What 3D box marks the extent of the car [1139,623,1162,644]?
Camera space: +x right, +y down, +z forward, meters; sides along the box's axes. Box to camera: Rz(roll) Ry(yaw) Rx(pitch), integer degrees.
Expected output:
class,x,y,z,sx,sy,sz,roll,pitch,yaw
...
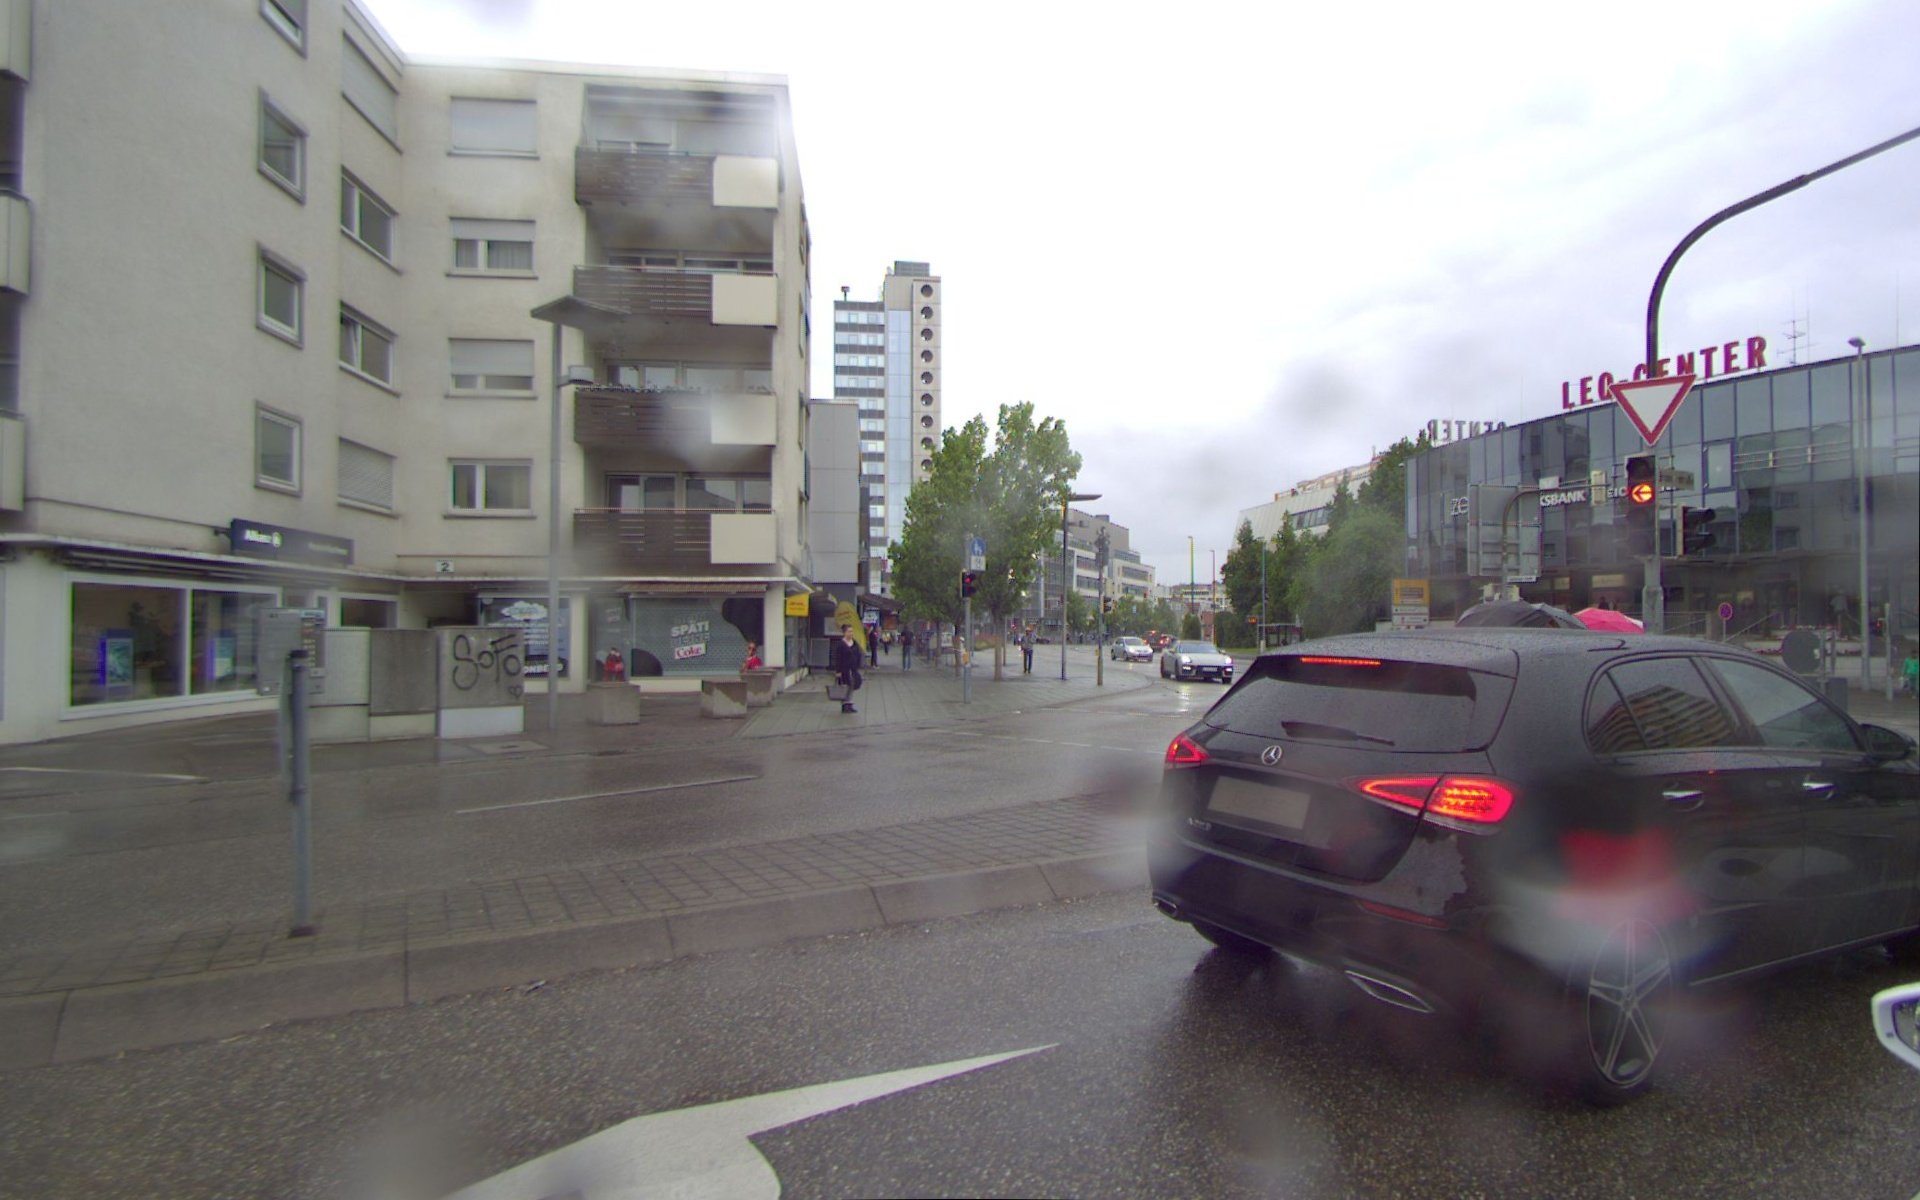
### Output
class,x,y,z,sx,sy,sz,roll,pitch,yaw
car,18.354,3.232,96.851,2.008,1.921,4.141,1,-1,9

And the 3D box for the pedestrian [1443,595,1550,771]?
class,x,y,z,sx,sy,sz,roll,pitch,yaw
pedestrian,5.714,0.853,10.688,0.937,1.759,0.834,-1,-2,33

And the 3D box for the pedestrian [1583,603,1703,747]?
class,x,y,z,sx,sy,sz,roll,pitch,yaw
pedestrian,8.508,0.912,12.537,0.905,1.699,0.931,2,-2,-28

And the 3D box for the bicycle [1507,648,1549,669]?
class,x,y,z,sx,sy,sz,roll,pitch,yaw
bicycle,28.833,2.963,50.977,1.821,1.036,0.631,-1,-2,-9

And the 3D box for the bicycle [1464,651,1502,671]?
class,x,y,z,sx,sy,sz,roll,pitch,yaw
bicycle,28.134,3.294,54.033,1.820,0.964,0.535,-2,0,-6

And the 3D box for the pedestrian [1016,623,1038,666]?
class,x,y,z,sx,sy,sz,roll,pitch,yaw
pedestrian,2.625,1.736,39.285,0.799,1.677,0.715,1,-2,-1

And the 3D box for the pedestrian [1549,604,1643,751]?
class,x,y,z,sx,sy,sz,roll,pitch,yaw
pedestrian,7.675,0.917,12.153,0.790,1.707,0.674,0,-2,16

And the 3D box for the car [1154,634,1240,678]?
class,x,y,z,sx,sy,sz,roll,pitch,yaw
car,8.588,1.999,36.921,2.081,1.432,5.148,2,-2,2

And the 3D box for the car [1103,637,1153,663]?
class,x,y,z,sx,sy,sz,roll,pitch,yaw
car,10.510,3.119,63.002,1.716,1.460,3.983,1,-1,-13

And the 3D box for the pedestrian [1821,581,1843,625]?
class,x,y,z,sx,sy,sz,roll,pitch,yaw
pedestrian,36.566,0.138,42.107,0.501,1.831,0.626,2,0,-45

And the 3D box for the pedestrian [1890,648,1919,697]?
class,x,y,z,sx,sy,sz,roll,pitch,yaw
pedestrian,32.630,2.471,34.519,0.939,1.644,0.804,-1,-2,43

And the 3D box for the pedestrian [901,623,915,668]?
class,x,y,z,sx,sy,sz,roll,pitch,yaw
pedestrian,-2.117,1.843,41.099,0.557,1.817,0.492,1,-2,-2

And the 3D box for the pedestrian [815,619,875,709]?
class,x,y,z,sx,sy,sz,roll,pitch,yaw
pedestrian,-2.113,1.171,18.455,0.903,1.606,0.652,2,-2,-31

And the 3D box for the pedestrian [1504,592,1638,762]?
class,x,y,z,sx,sy,sz,roll,pitch,yaw
pedestrian,6.728,0.825,11.124,0.842,1.767,1.139,1,-2,5

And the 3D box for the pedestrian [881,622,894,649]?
class,x,y,z,sx,sy,sz,roll,pitch,yaw
pedestrian,-5.016,2.454,69.417,0.858,1.835,0.924,1,-1,-8

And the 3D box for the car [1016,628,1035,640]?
class,x,y,z,sx,sy,sz,roll,pitch,yaw
car,7.601,4.001,117.299,1.414,1.314,3.772,1,-1,-8

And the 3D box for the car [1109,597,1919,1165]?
class,x,y,z,sx,sy,sz,roll,pitch,yaw
car,2.770,0.758,4.399,4.045,1.501,1.655,0,1,-30

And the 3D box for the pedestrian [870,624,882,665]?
class,x,y,z,sx,sy,sz,roll,pitch,yaw
pedestrian,-3.572,1.892,42.628,0.441,1.746,0.500,1,-2,-10
